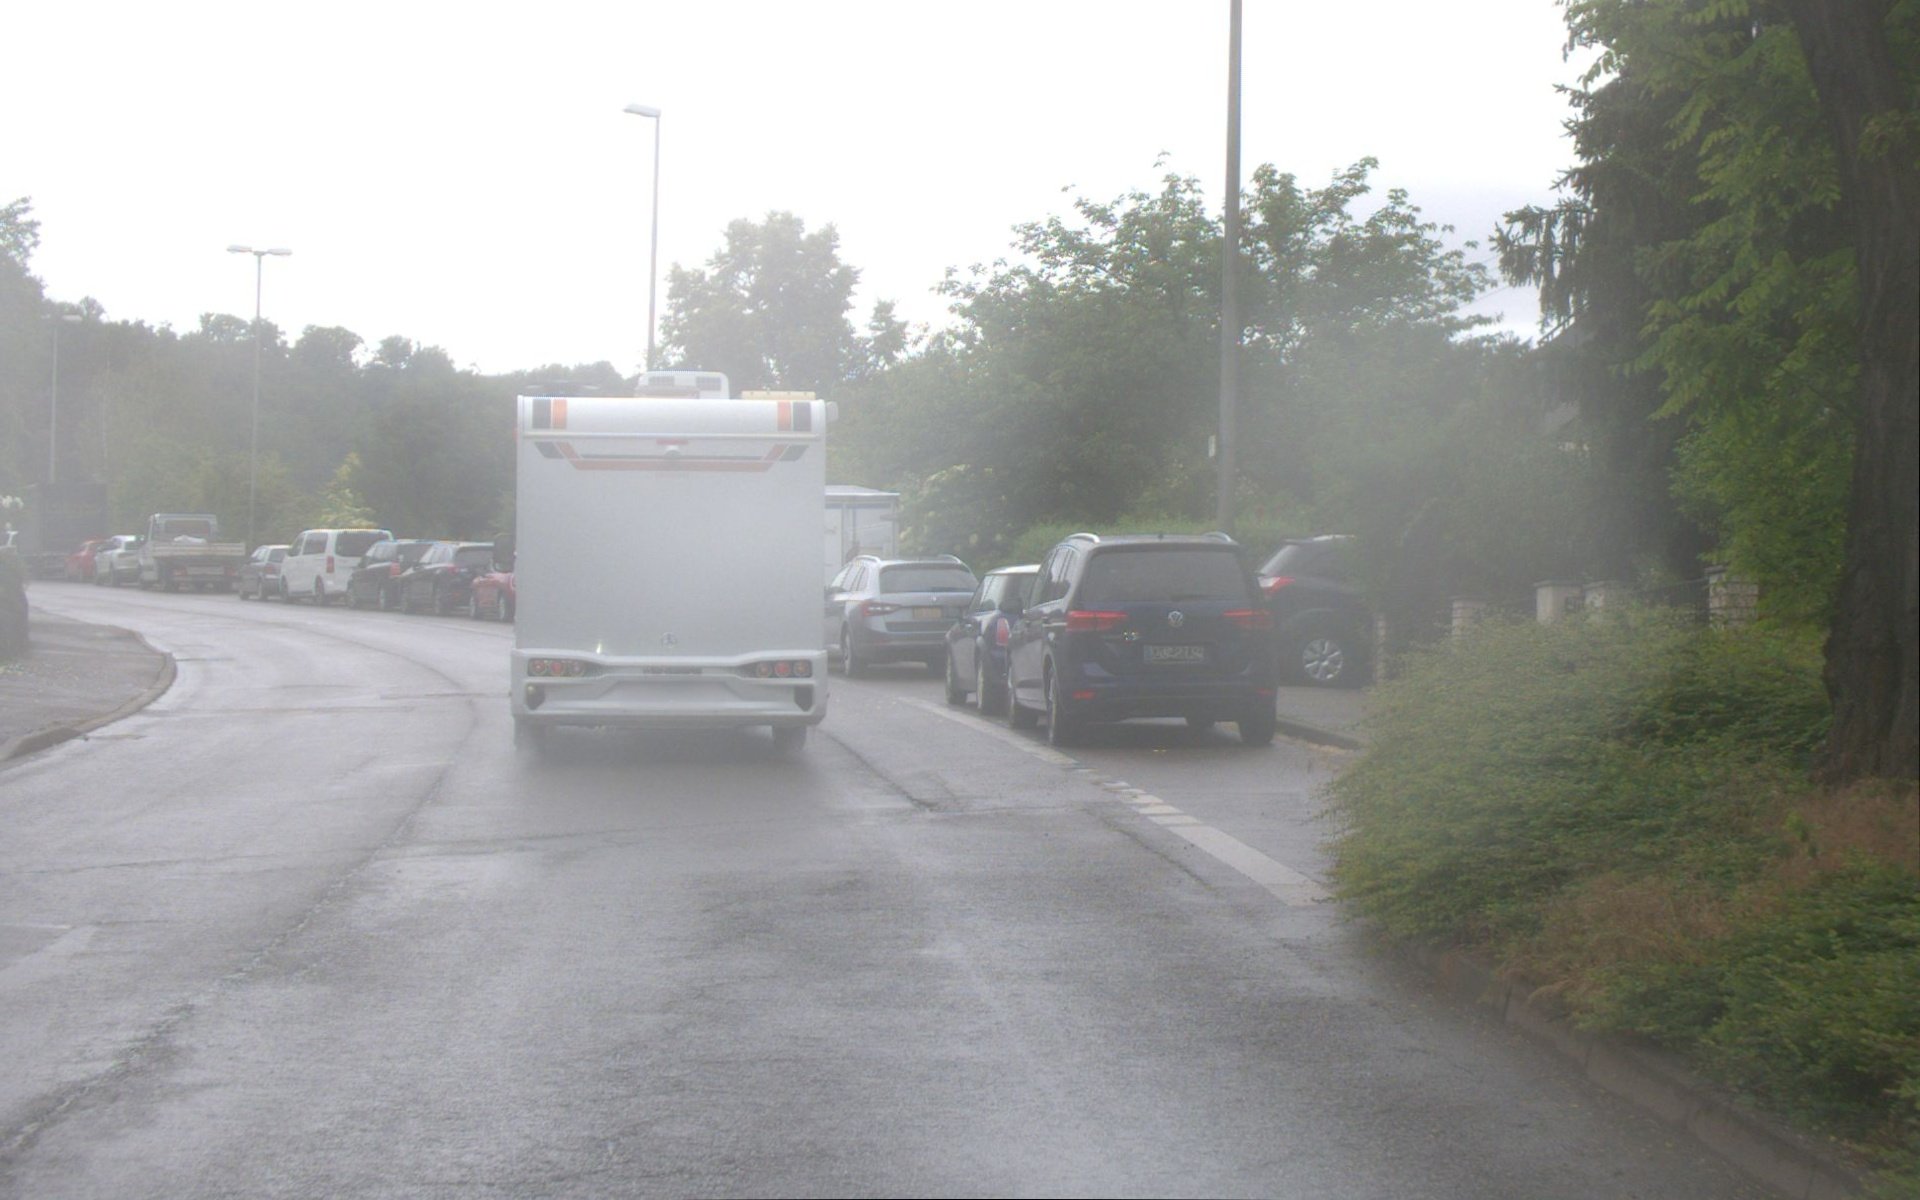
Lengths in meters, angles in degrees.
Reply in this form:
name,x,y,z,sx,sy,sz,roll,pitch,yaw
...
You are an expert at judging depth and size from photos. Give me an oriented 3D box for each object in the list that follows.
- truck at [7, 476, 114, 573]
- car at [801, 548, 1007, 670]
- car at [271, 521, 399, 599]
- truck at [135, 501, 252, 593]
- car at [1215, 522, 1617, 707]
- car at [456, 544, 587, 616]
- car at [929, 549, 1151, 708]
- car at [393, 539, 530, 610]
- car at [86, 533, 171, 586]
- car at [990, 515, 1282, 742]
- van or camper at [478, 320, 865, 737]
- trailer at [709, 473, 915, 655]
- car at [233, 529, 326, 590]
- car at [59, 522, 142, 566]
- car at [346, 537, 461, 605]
name,x,y,z,sx,sy,sz,roll,pitch,yaw
truck,-32.222,-2.657,122.940,2.435,3.324,7.967,1,1,-24
car,-0.760,0.083,42.818,1.746,1.419,4.705,1,1,-11
car,-15.560,-1.003,85.392,1.848,1.875,4.912,1,1,-26
truck,-22.888,-1.580,102.458,2.238,2.622,6.540,1,1,-23
car,5.022,0.150,38.158,4.003,1.682,1.778,5,0,-5
car,-8.980,-0.428,70.251,1.735,1.409,3.853,1,1,-22
car,0.727,0.247,33.674,1.633,1.452,3.701,1,1,-7
car,-10.928,-0.573,75.044,1.815,1.501,4.725,1,1,-23
car,-26.409,-1.292,109.069,1.759,1.599,4.668,1,1,-24
car,1.357,0.193,28.257,1.829,1.695,4.461,1,1,-4
van or camper,-2.379,-0.440,27.325,2.615,2.843,6.032,2,-1,-7
trailer,-2.191,-0.517,49.256,1.948,2.448,5.436,1,1,-13
car,-17.960,-1.069,90.587,1.647,1.558,3.964,1,1,-22
car,-29.081,-1.904,116.209,1.831,1.433,4.988,1,1,-25
car,-13.032,-0.691,80.304,1.644,1.535,4.355,1,1,-23
